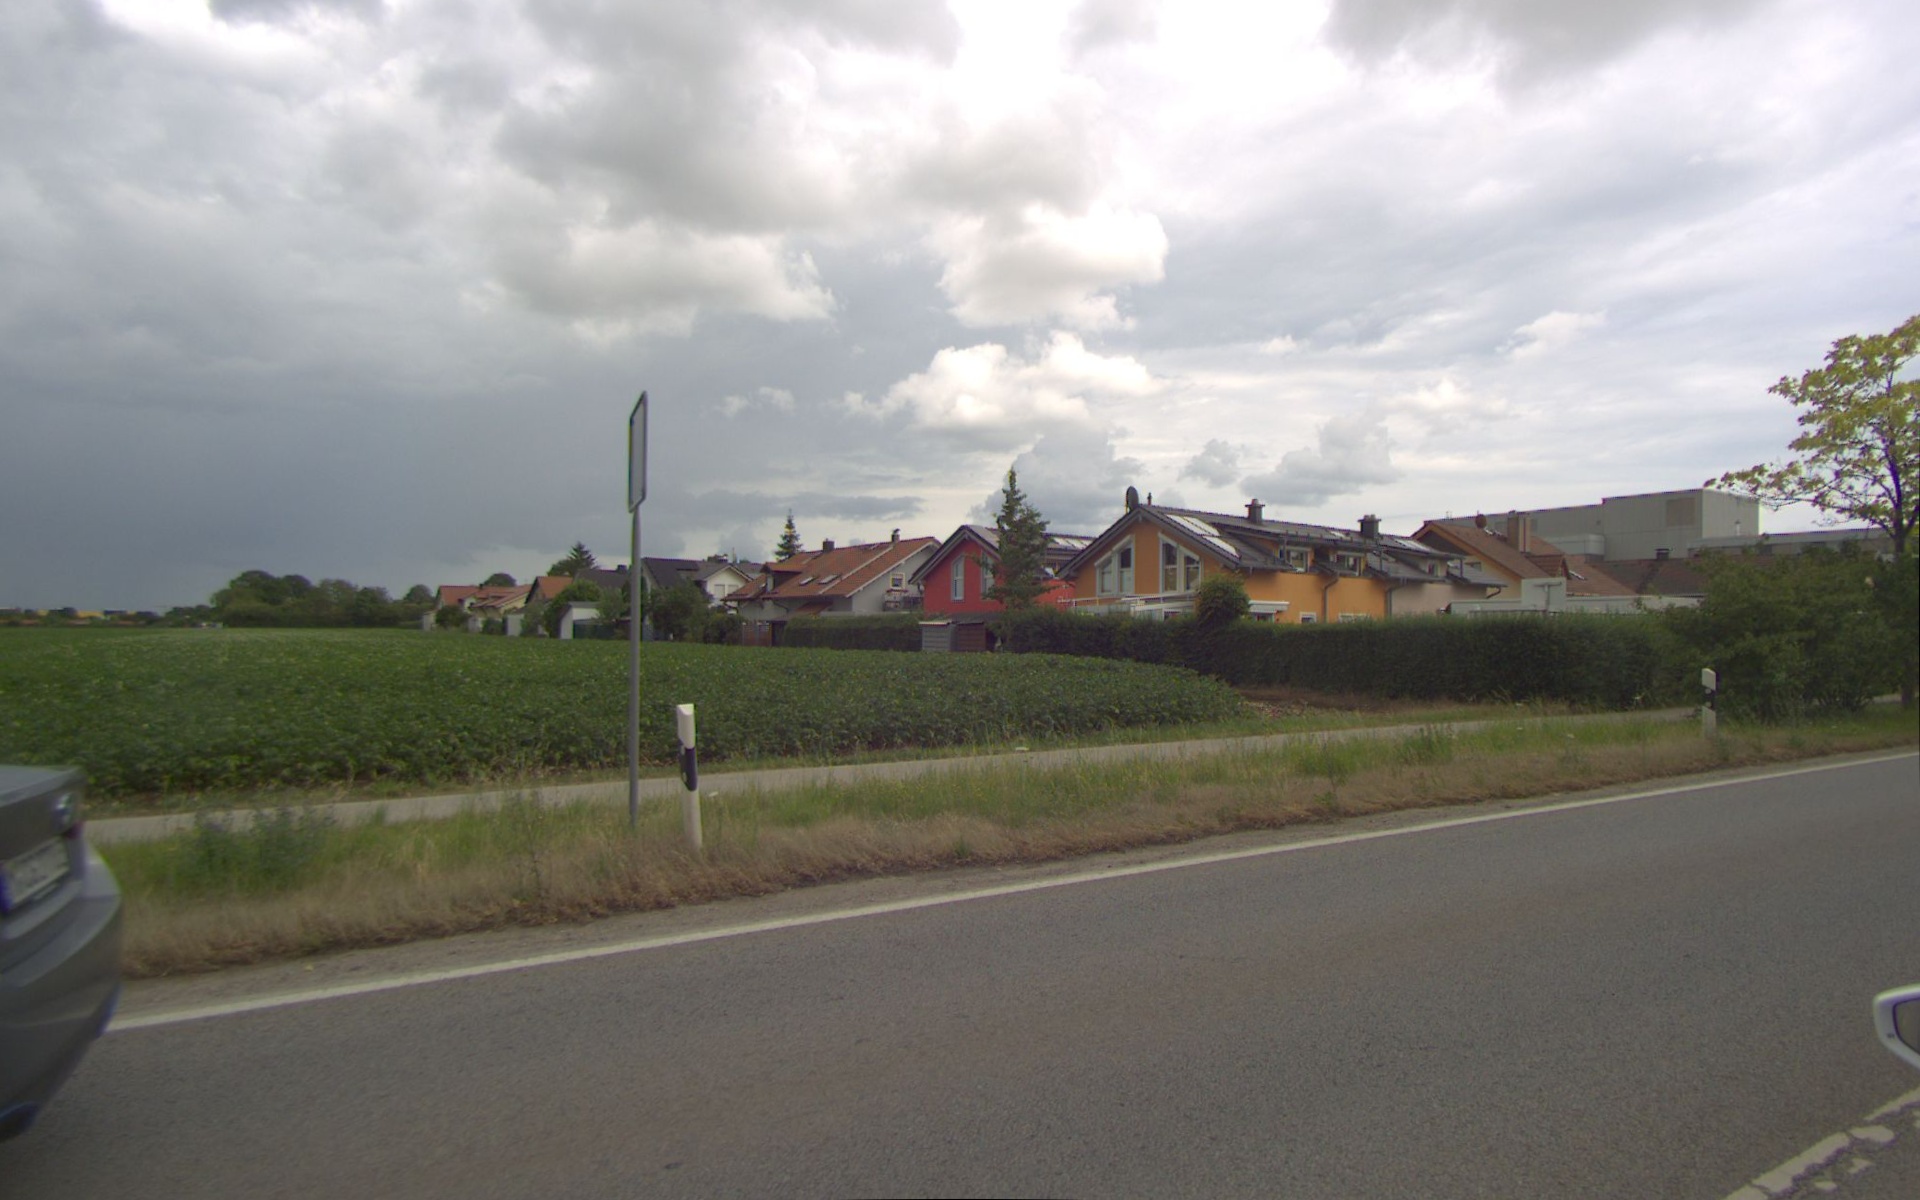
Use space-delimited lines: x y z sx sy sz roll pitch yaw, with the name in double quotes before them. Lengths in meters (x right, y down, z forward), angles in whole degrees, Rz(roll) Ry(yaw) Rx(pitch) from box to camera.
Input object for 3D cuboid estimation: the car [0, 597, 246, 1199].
"car" -3.951 0.731 1.643 4.318 1.483 1.844 1 -3 -30
